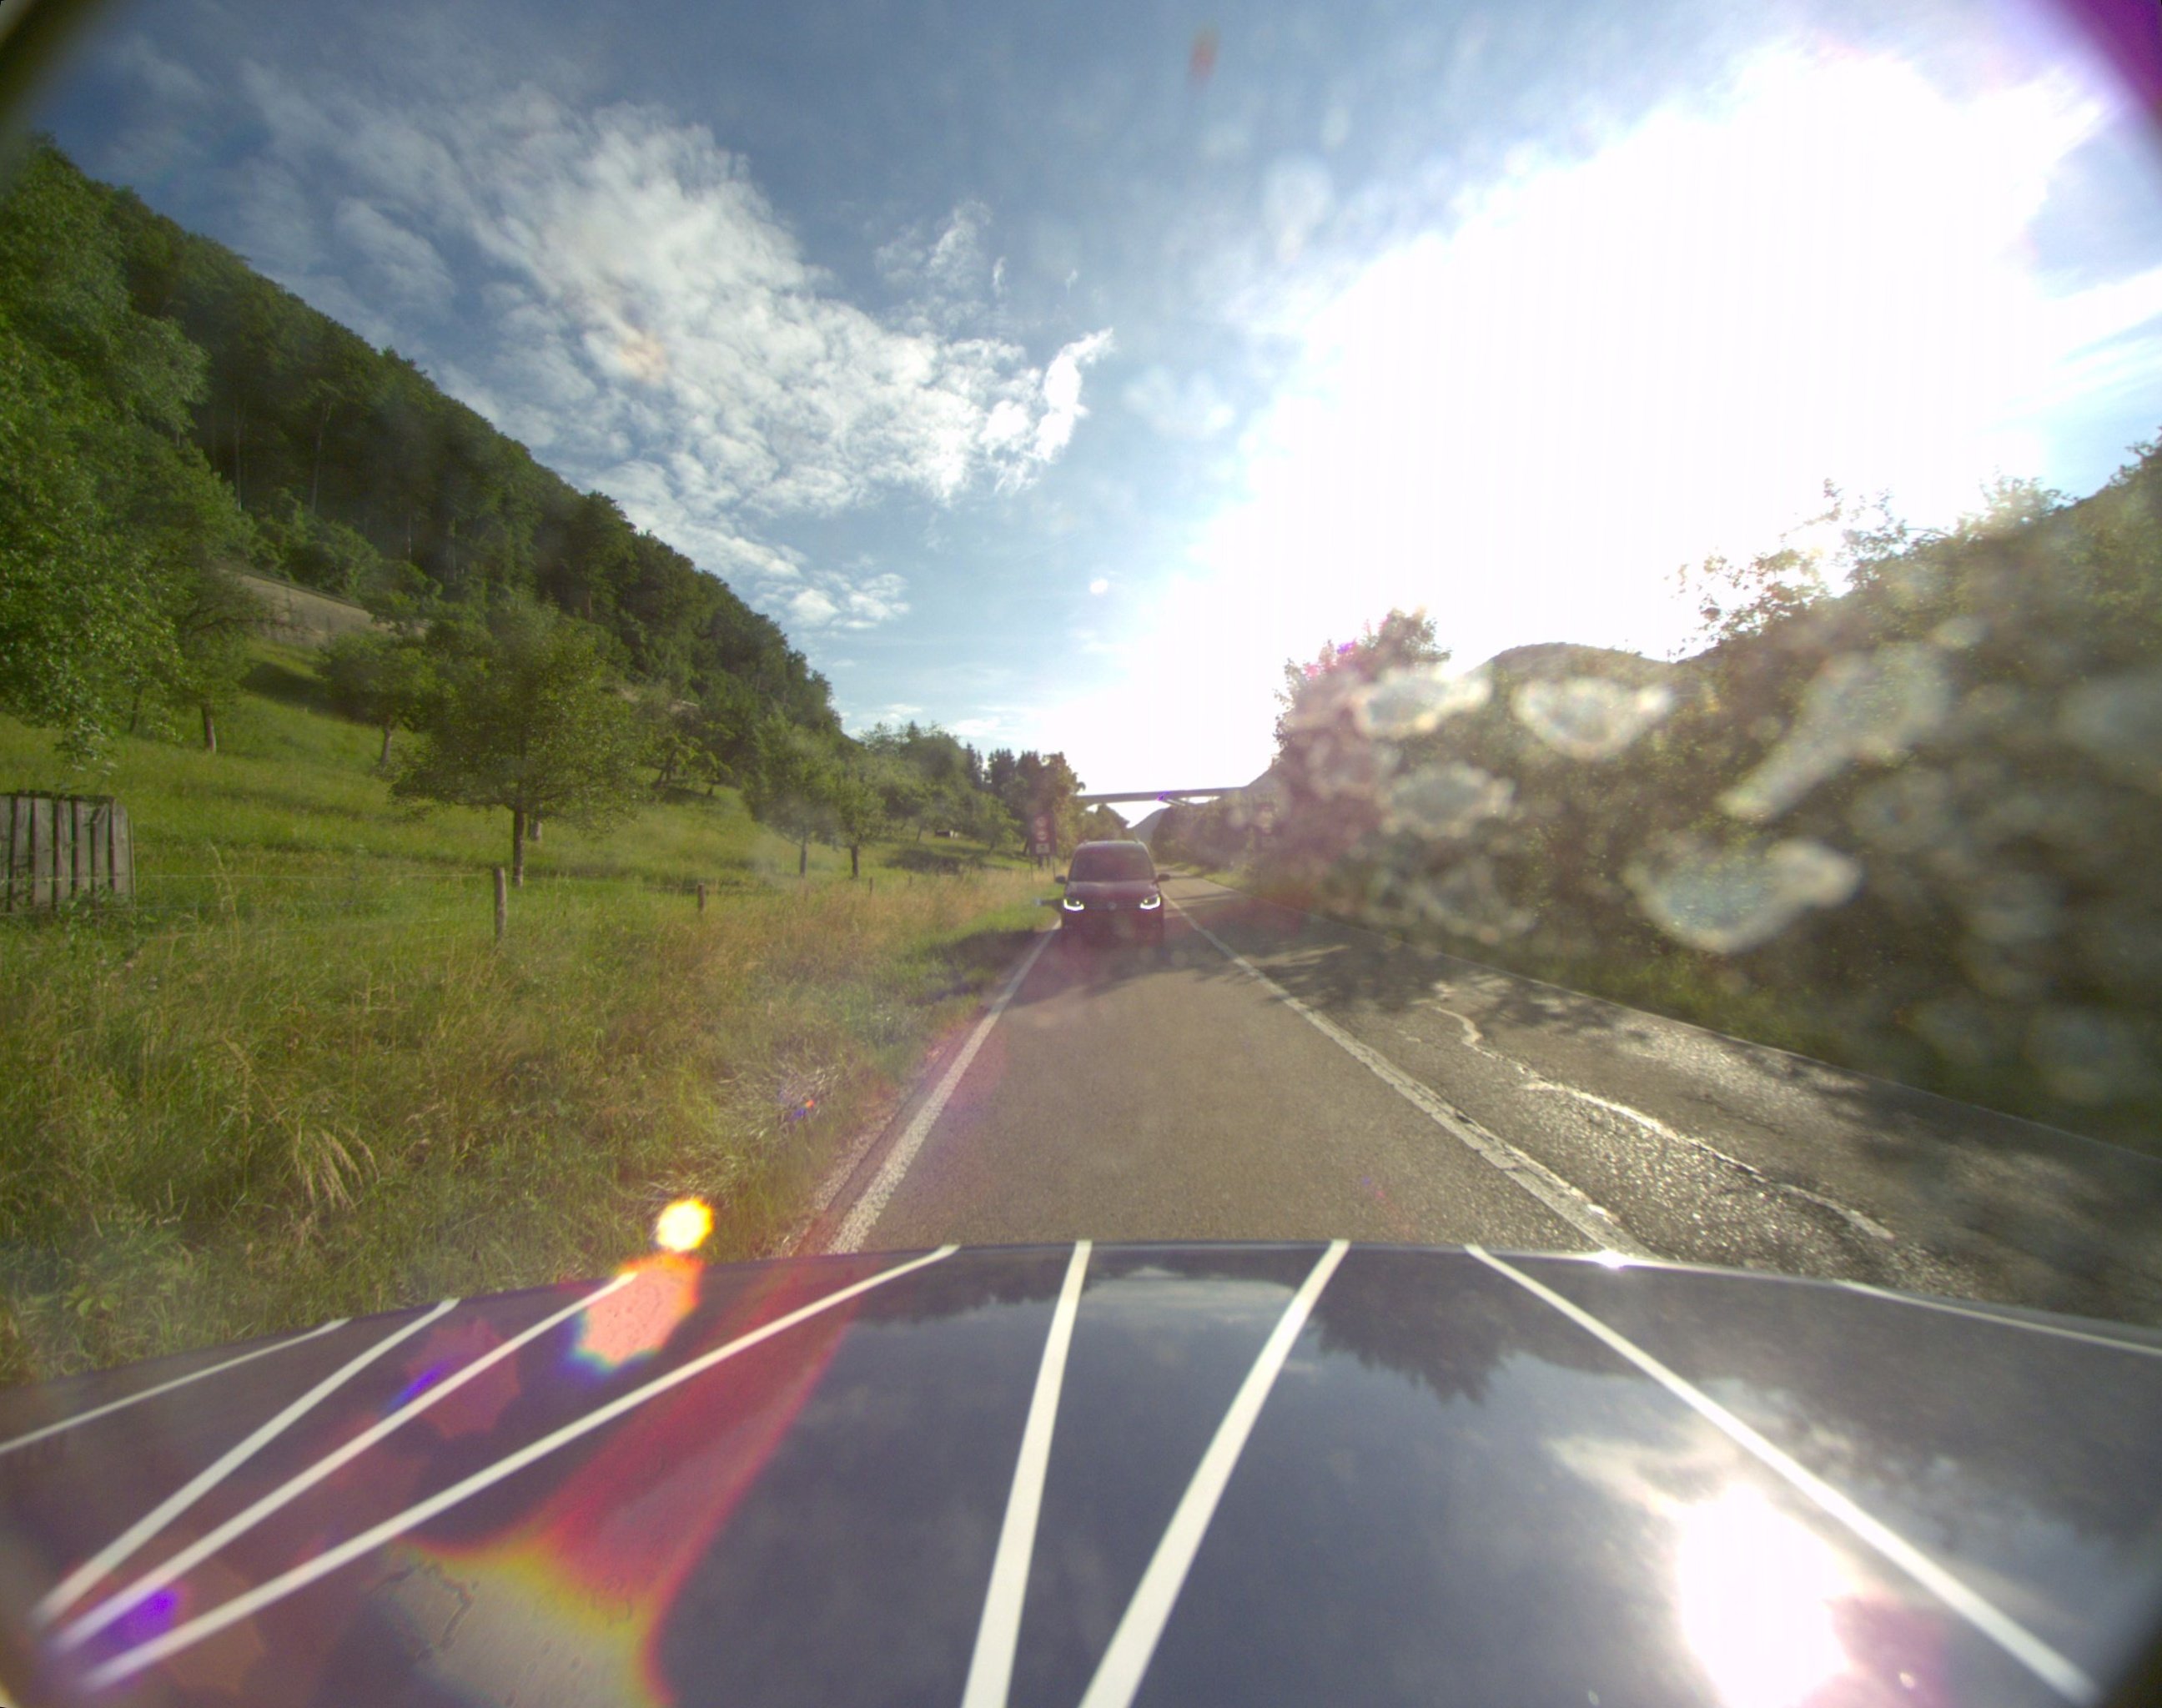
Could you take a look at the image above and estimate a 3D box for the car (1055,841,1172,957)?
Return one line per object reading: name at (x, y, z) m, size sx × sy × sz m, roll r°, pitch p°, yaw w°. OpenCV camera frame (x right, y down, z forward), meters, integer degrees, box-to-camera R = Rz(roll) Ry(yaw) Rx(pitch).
car at (0.553, 0.680, 14.011) m, size 1.759 × 1.745 × 4.429 m, roll -2°, pitch 1°, yaw 1°
